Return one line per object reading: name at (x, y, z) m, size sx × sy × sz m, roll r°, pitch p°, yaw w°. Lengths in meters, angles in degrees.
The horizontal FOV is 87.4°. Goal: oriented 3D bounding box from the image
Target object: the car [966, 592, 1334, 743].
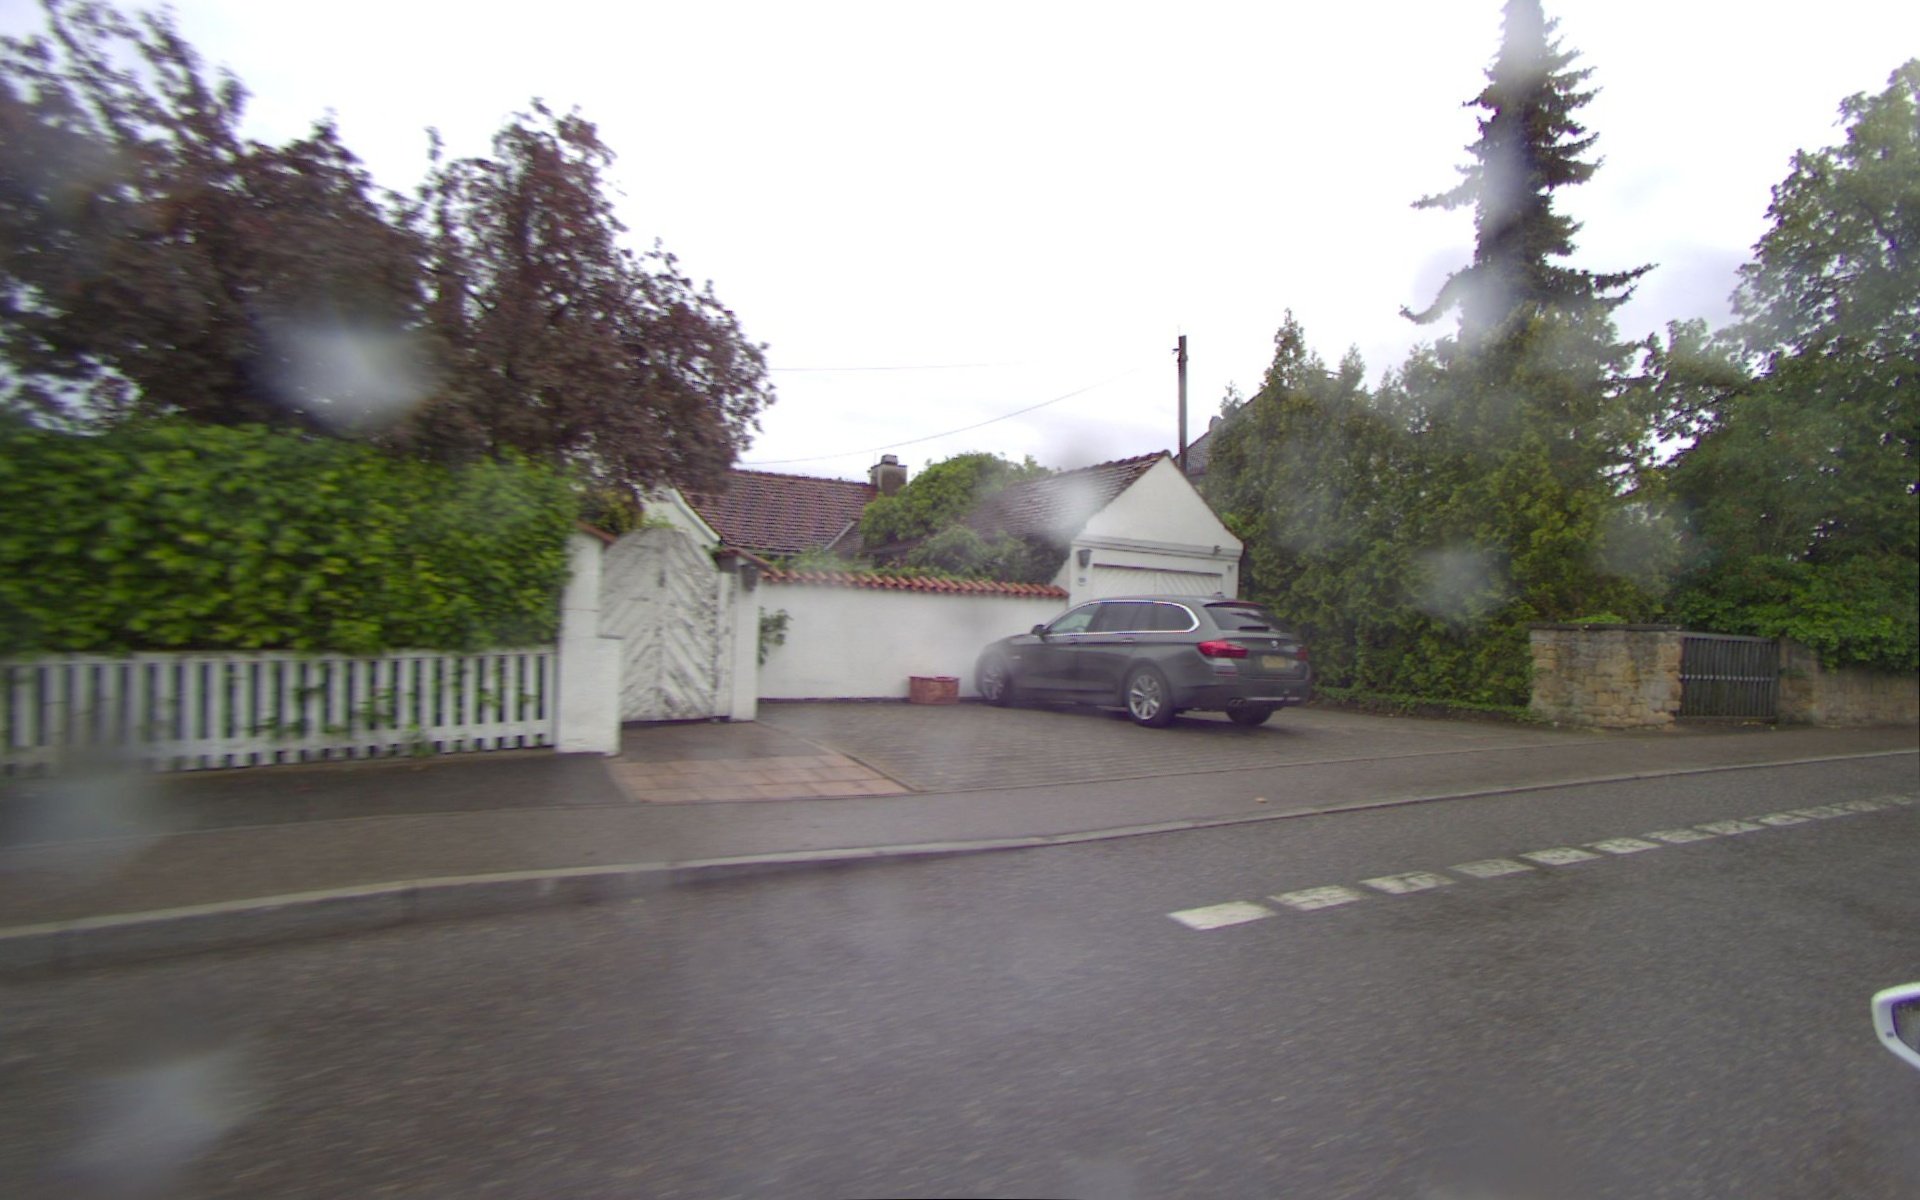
car at (2.086, 0.676, 12.365) m, size 1.820 × 1.495 × 4.512 m, roll 1°, pitch 0°, yaw -34°
